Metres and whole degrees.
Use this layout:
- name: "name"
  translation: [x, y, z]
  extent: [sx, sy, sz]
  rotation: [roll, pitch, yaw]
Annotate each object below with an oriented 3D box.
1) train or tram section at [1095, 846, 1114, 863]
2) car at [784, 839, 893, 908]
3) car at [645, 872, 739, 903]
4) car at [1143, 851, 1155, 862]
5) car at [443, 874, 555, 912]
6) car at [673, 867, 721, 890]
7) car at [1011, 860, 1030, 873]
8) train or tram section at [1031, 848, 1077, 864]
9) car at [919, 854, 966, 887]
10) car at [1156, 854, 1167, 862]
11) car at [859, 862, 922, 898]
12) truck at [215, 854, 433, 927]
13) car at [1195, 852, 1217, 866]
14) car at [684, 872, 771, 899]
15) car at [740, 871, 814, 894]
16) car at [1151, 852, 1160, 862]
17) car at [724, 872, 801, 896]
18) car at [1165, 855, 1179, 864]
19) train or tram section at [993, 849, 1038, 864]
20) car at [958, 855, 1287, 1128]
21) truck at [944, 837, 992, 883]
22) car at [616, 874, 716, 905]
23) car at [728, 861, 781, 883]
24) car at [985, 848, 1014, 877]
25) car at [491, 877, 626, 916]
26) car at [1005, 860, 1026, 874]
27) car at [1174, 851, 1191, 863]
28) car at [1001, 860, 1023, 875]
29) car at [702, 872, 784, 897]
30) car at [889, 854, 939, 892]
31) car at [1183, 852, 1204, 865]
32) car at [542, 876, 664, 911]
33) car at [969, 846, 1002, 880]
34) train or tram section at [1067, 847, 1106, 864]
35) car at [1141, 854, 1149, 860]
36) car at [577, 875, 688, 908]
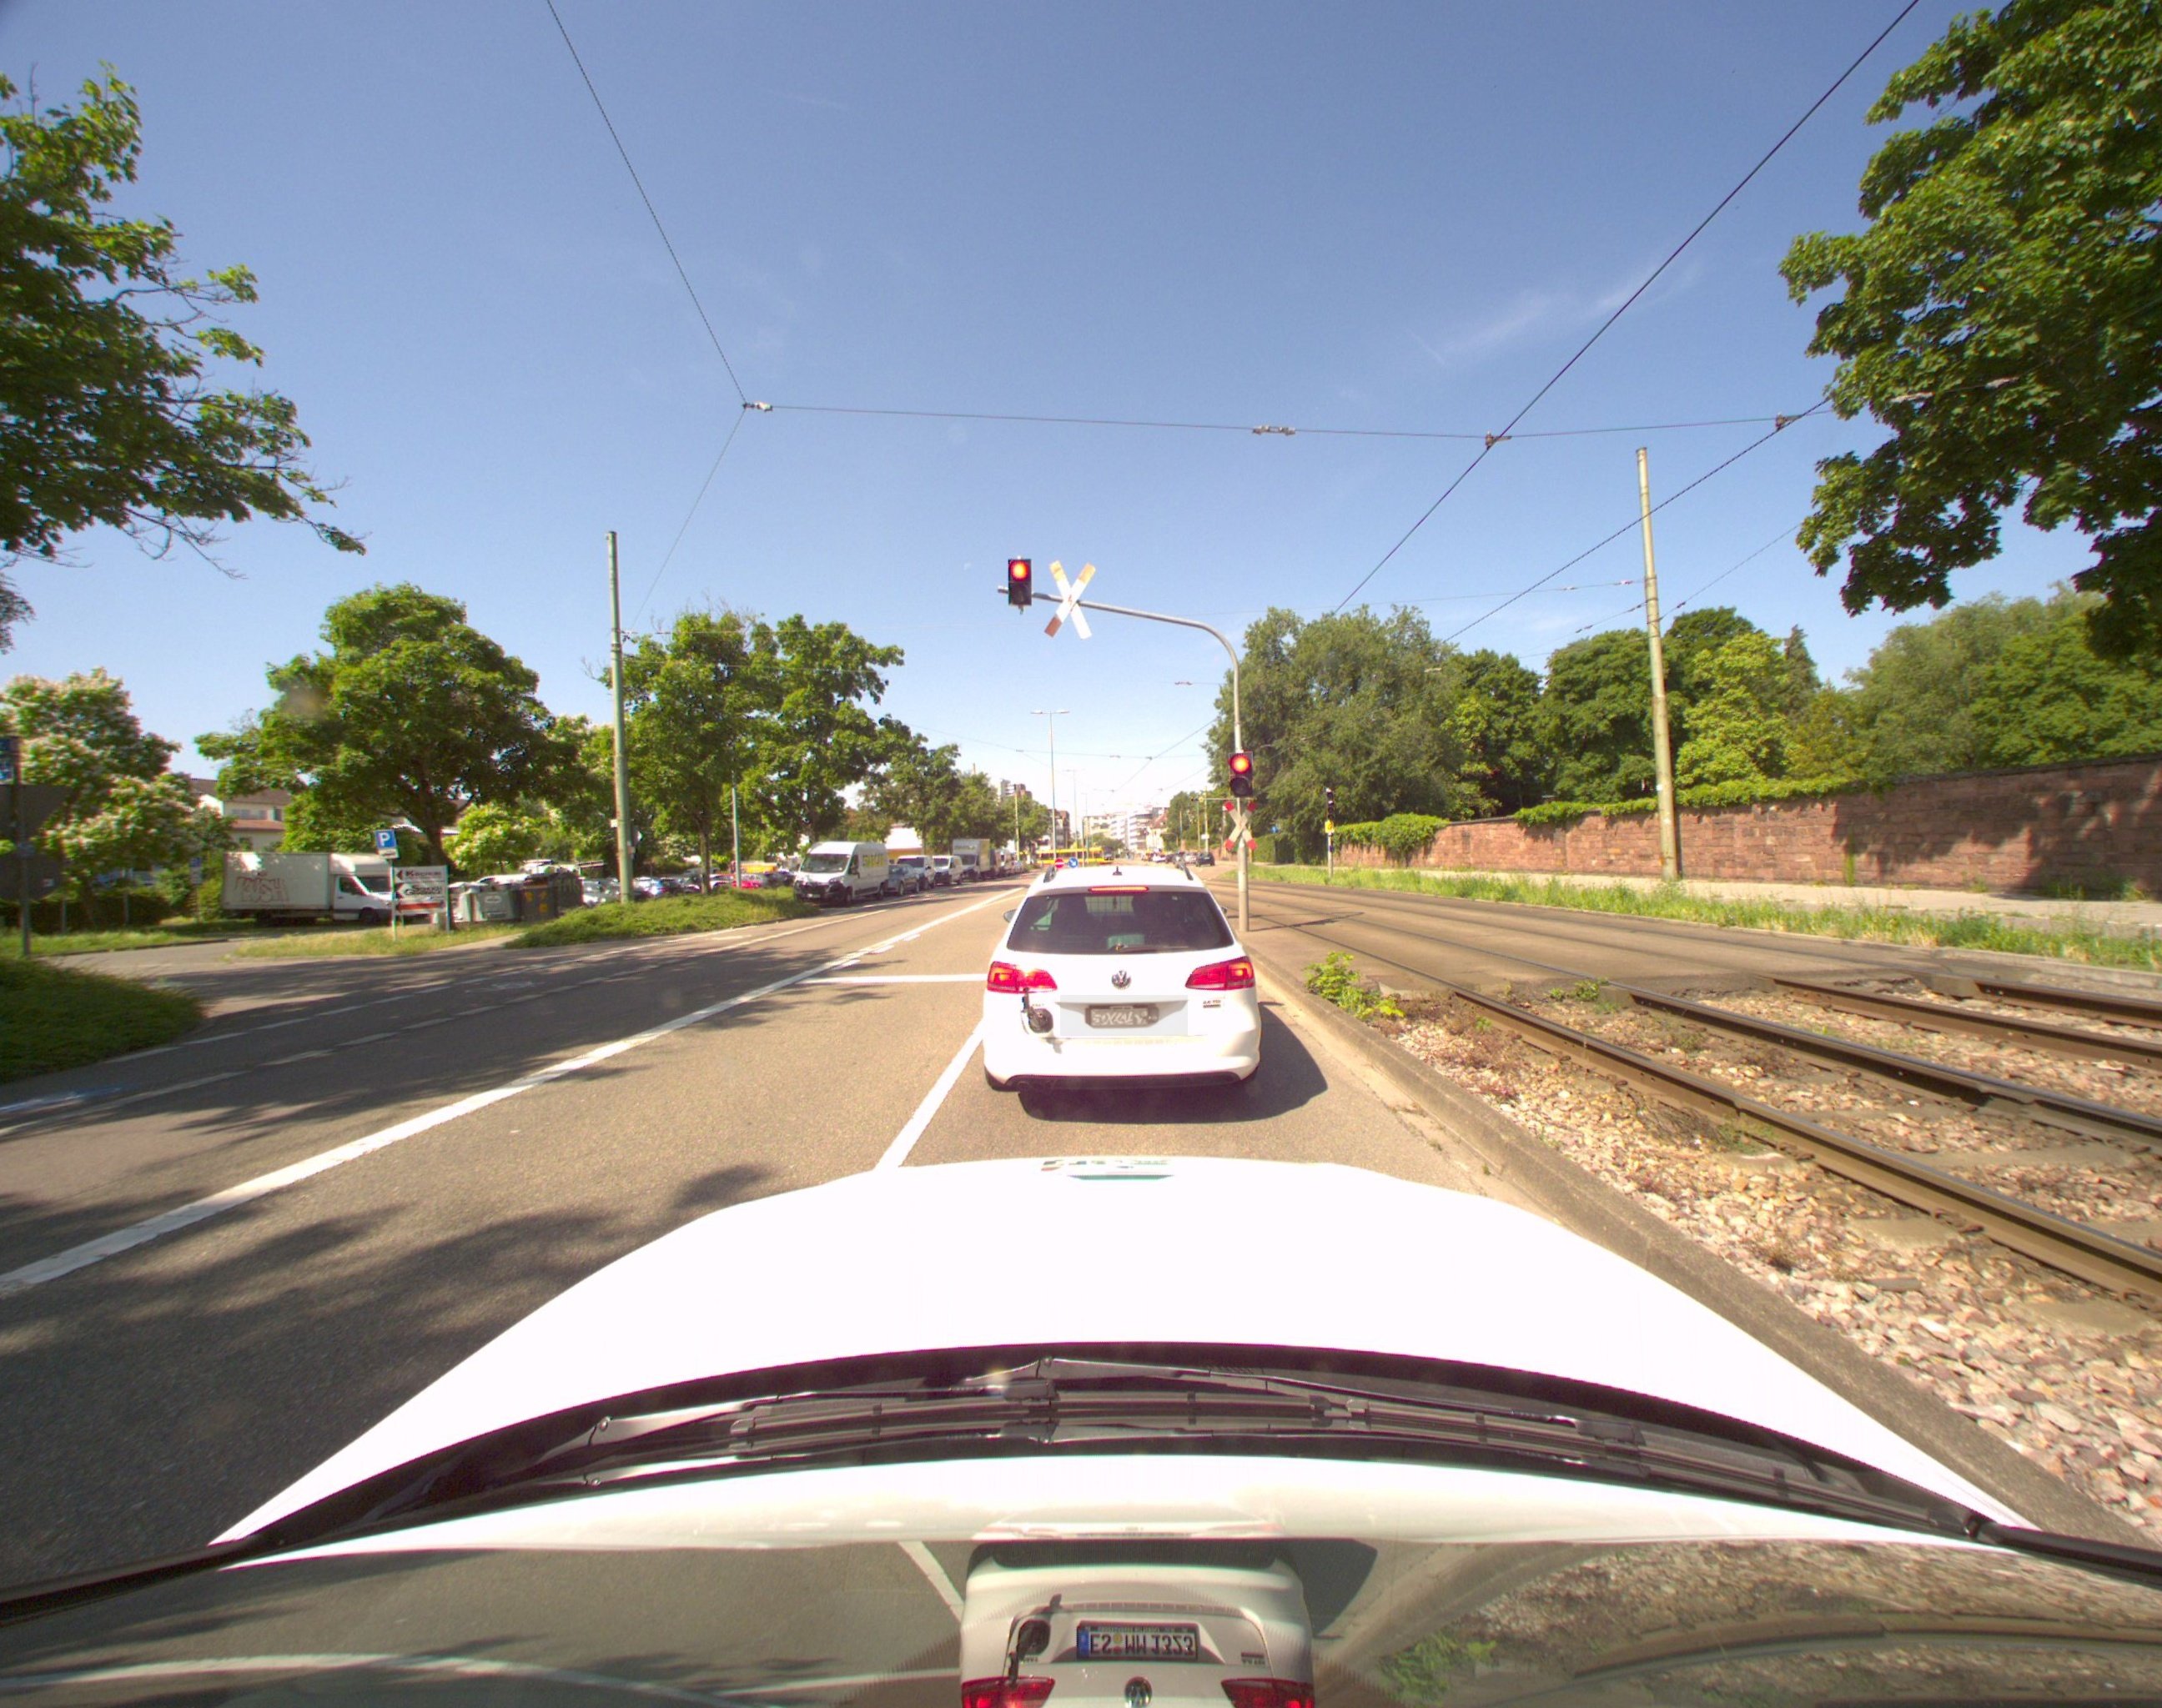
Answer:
- name: "train or tram section"
  translation: [4.511, 0.186, 158.600]
  extent: [2.298, 3.253, 11.249]
  rotation: [0, -1, -6]
- name: "car"
  translation: [-9.588, 0.698, 32.917]
  extent: [2.049, 2.501, 6.315]
  rotation: [0, 0, 4]
- name: "car"
  translation: [-20.246, 1.723, 42.485]
  extent: [3.969, 1.350, 1.773]
  rotation: [-3, 0, 4]
- name: "car"
  translation: [15.573, 0.578, 187.263]
  extent: [2.454, 2.499, 5.912]
  rotation: [0, -1, 1]
- name: "car"
  translation: [-32.234, 2.130, 45.223]
  extent: [4.683, 2.014, 1.997]
  rotation: [0, -1, -4]
- name: "car"
  translation: [-34.355, 2.177, 72.914]
  extent: [3.412, 1.876, 1.552]
  rotation: [-3, 0, -1]
- name: "car"
  translation: [-7.130, 1.478, 96.949]
  extent: [1.774, 1.433, 4.039]
  rotation: [-3, 0, 2]
- name: "train or tram section"
  translation: [-5.888, 0.435, 175.188]
  extent: [10.667, 3.253, 2.323]
  rotation: [-1, -1, 36]
- name: "car"
  translation: [-8.827, 1.022, 52.342]
  extent: [1.836, 1.960, 5.137]
  rotation: [-3, 0, 2]
- name: "car"
  translation: [13.925, 0.708, 140.537]
  extent: [1.576, 1.346, 3.455]
  rotation: [0, -1, 1]
- name: "car"
  translation: [-9.072, 1.189, 39.058]
  extent: [1.837, 1.516, 4.199]
  rotation: [-3, 0, 2]
- name: "truck"
  translation: [-32.405, 1.531, 35.029]
  extent: [7.119, 3.019, 2.231]
  rotation: [0, 0, -1]
- name: "car"
  translation: [12.288, 0.493, 80.101]
  extent: [1.739, 1.388, 3.916]
  rotation: [-1, 0, 3]
- name: "car"
  translation: [-19.456, 1.729, 44.961]
  extent: [3.969, 1.264, 1.773]
  rotation: [-3, 0, 4]
- name: "car"
  translation: [-19.534, 1.839, 52.419]
  extent: [3.969, 1.225, 1.773]
  rotation: [-3, 0, 4]
- name: "car"
  translation: [15.185, 0.624, 166.694]
  extent: [1.685, 1.812, 3.455]
  rotation: [0, -1, 1]
- name: "car"
  translation: [-19.531, 1.820, 50.081]
  extent: [3.969, 1.225, 1.773]
  rotation: [-3, 0, 4]
- name: "car"
  translation: [13.551, 0.802, 121.389]
  extent: [1.740, 1.407, 3.913]
  rotation: [0, 0, 0]
- name: "train or tram section"
  translation: [-14.562, 0.544, 180.970]
  extent: [10.668, 3.253, 2.323]
  rotation: [-1, -1, 31]
- name: "car"
  translation: [0.257, 0.743, 6.337]
  extent: [1.762, 1.446, 3.913]
  rotation: [0, 0, 1]
- name: "truck"
  translation: [-8.302, 0.402, 60.720]
  extent: [2.348, 3.122, 6.892]
  rotation: [-3, 0, 1]
- name: "car"
  translation: [-20.259, 1.724, 39.836]
  extent: [3.969, 1.225, 1.773]
  rotation: [-3, 0, 4]
- name: "car"
  translation: [-31.234, 1.686, 77.941]
  extent: [4.249, 2.014, 1.997]
  rotation: [0, -1, -5]
- name: "car"
  translation: [-7.562, 0.773, 76.246]
  extent: [1.836, 2.494, 5.860]
  rotation: [-3, 0, 2]
- name: "car"
  translation: [-20.005, 1.596, 31.323]
  extent: [3.974, 1.225, 1.771]
  rotation: [-3, 0, 0]
- name: "car"
  translation: [-7.391, 1.496, 92.402]
  extent: [1.837, 1.433, 4.039]
  rotation: [-3, 0, 2]
- name: "car"
  translation: [13.462, 0.410, 108.015]
  extent: [1.855, 1.513, 3.913]
  rotation: [0, 0, 0]
- name: "car"
  translation: [-7.262, 1.409, 85.803]
  extent: [1.837, 1.433, 4.039]
  rotation: [-3, 0, 2]
- name: "car"
  translation: [-19.667, 1.782, 47.488]
  extent: [3.969, 1.225, 1.773]
  rotation: [-3, 0, 4]
- name: "car"
  translation: [-9.296, 1.004, 45.764]
  extent: [1.839, 1.937, 5.189]
  rotation: [-3, 0, -2]
- name: "car"
  translation: [12.907, 0.479, 93.887]
  extent: [1.855, 1.416, 4.325]
  rotation: [0, 0, 0]
- name: "car"
  translation: [-19.905, 1.634, 34.027]
  extent: [3.974, 1.225, 1.771]
  rotation: [-3, 0, 0]
- name: "car"
  translation: [-7.958, 0.751, 68.475]
  extent: [1.836, 2.668, 5.006]
  rotation: [-3, 0, 2]
- name: "train or tram section"
  translation: [1.121, 0.314, 167.881]
  extent: [2.318, 3.253, 10.691]
  rotation: [0, -1, -35]
- name: "car"
  translation: [15.773, 0.768, 201.067]
  extent: [1.986, 1.596, 4.002]
  rotation: [0, -1, 2]
- name: "car"
  translation: [-20.102, 1.682, 36.610]
  extent: [3.969, 1.225, 1.773]
  rotation: [-3, 0, 4]
